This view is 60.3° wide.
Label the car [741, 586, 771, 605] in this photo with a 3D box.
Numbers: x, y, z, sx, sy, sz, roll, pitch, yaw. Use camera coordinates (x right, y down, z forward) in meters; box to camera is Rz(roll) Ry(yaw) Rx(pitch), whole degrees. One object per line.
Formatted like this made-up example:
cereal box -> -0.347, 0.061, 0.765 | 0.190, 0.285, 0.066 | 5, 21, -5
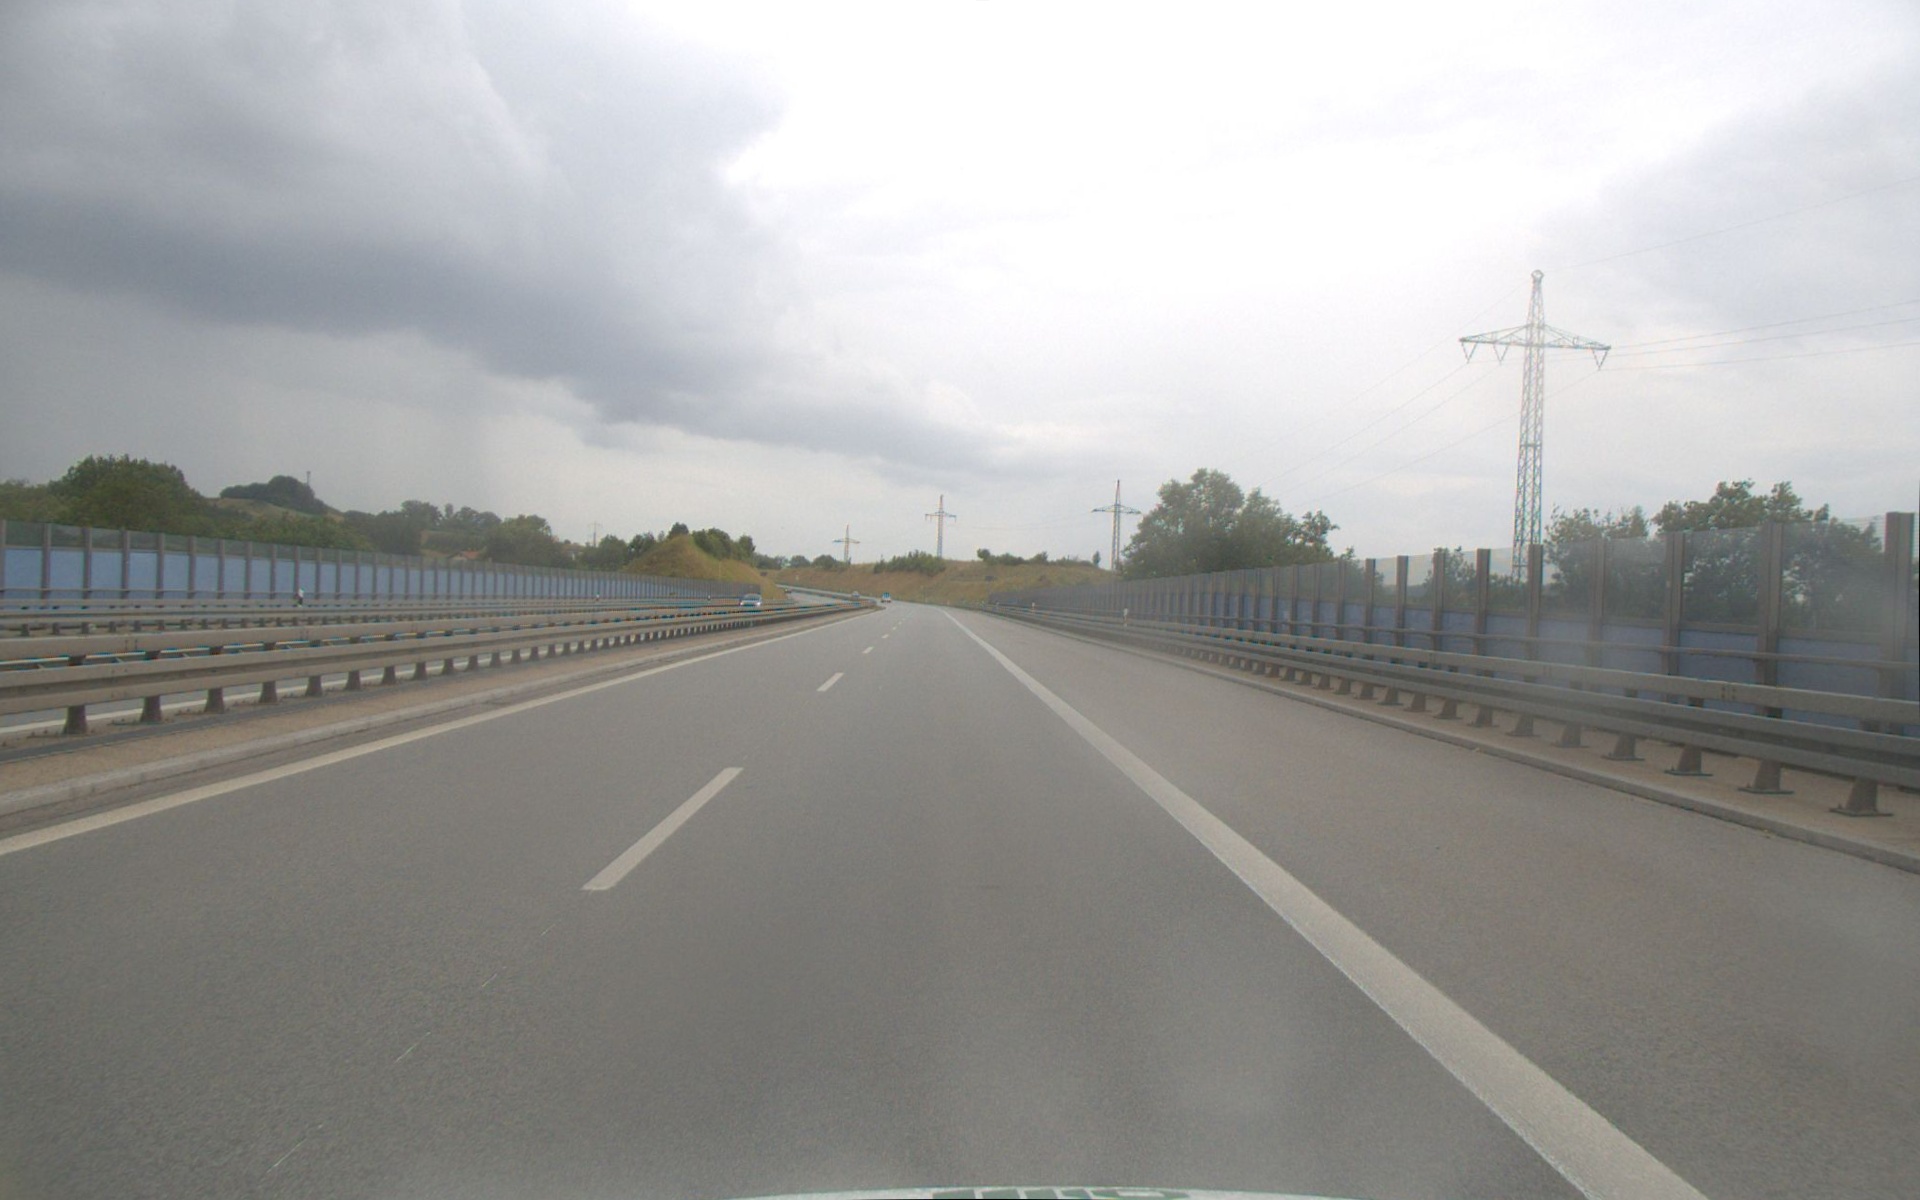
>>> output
car -> -16.530, -0.362, 134.045 | 1.953, 1.541, 4.286 | 1, 0, -1
